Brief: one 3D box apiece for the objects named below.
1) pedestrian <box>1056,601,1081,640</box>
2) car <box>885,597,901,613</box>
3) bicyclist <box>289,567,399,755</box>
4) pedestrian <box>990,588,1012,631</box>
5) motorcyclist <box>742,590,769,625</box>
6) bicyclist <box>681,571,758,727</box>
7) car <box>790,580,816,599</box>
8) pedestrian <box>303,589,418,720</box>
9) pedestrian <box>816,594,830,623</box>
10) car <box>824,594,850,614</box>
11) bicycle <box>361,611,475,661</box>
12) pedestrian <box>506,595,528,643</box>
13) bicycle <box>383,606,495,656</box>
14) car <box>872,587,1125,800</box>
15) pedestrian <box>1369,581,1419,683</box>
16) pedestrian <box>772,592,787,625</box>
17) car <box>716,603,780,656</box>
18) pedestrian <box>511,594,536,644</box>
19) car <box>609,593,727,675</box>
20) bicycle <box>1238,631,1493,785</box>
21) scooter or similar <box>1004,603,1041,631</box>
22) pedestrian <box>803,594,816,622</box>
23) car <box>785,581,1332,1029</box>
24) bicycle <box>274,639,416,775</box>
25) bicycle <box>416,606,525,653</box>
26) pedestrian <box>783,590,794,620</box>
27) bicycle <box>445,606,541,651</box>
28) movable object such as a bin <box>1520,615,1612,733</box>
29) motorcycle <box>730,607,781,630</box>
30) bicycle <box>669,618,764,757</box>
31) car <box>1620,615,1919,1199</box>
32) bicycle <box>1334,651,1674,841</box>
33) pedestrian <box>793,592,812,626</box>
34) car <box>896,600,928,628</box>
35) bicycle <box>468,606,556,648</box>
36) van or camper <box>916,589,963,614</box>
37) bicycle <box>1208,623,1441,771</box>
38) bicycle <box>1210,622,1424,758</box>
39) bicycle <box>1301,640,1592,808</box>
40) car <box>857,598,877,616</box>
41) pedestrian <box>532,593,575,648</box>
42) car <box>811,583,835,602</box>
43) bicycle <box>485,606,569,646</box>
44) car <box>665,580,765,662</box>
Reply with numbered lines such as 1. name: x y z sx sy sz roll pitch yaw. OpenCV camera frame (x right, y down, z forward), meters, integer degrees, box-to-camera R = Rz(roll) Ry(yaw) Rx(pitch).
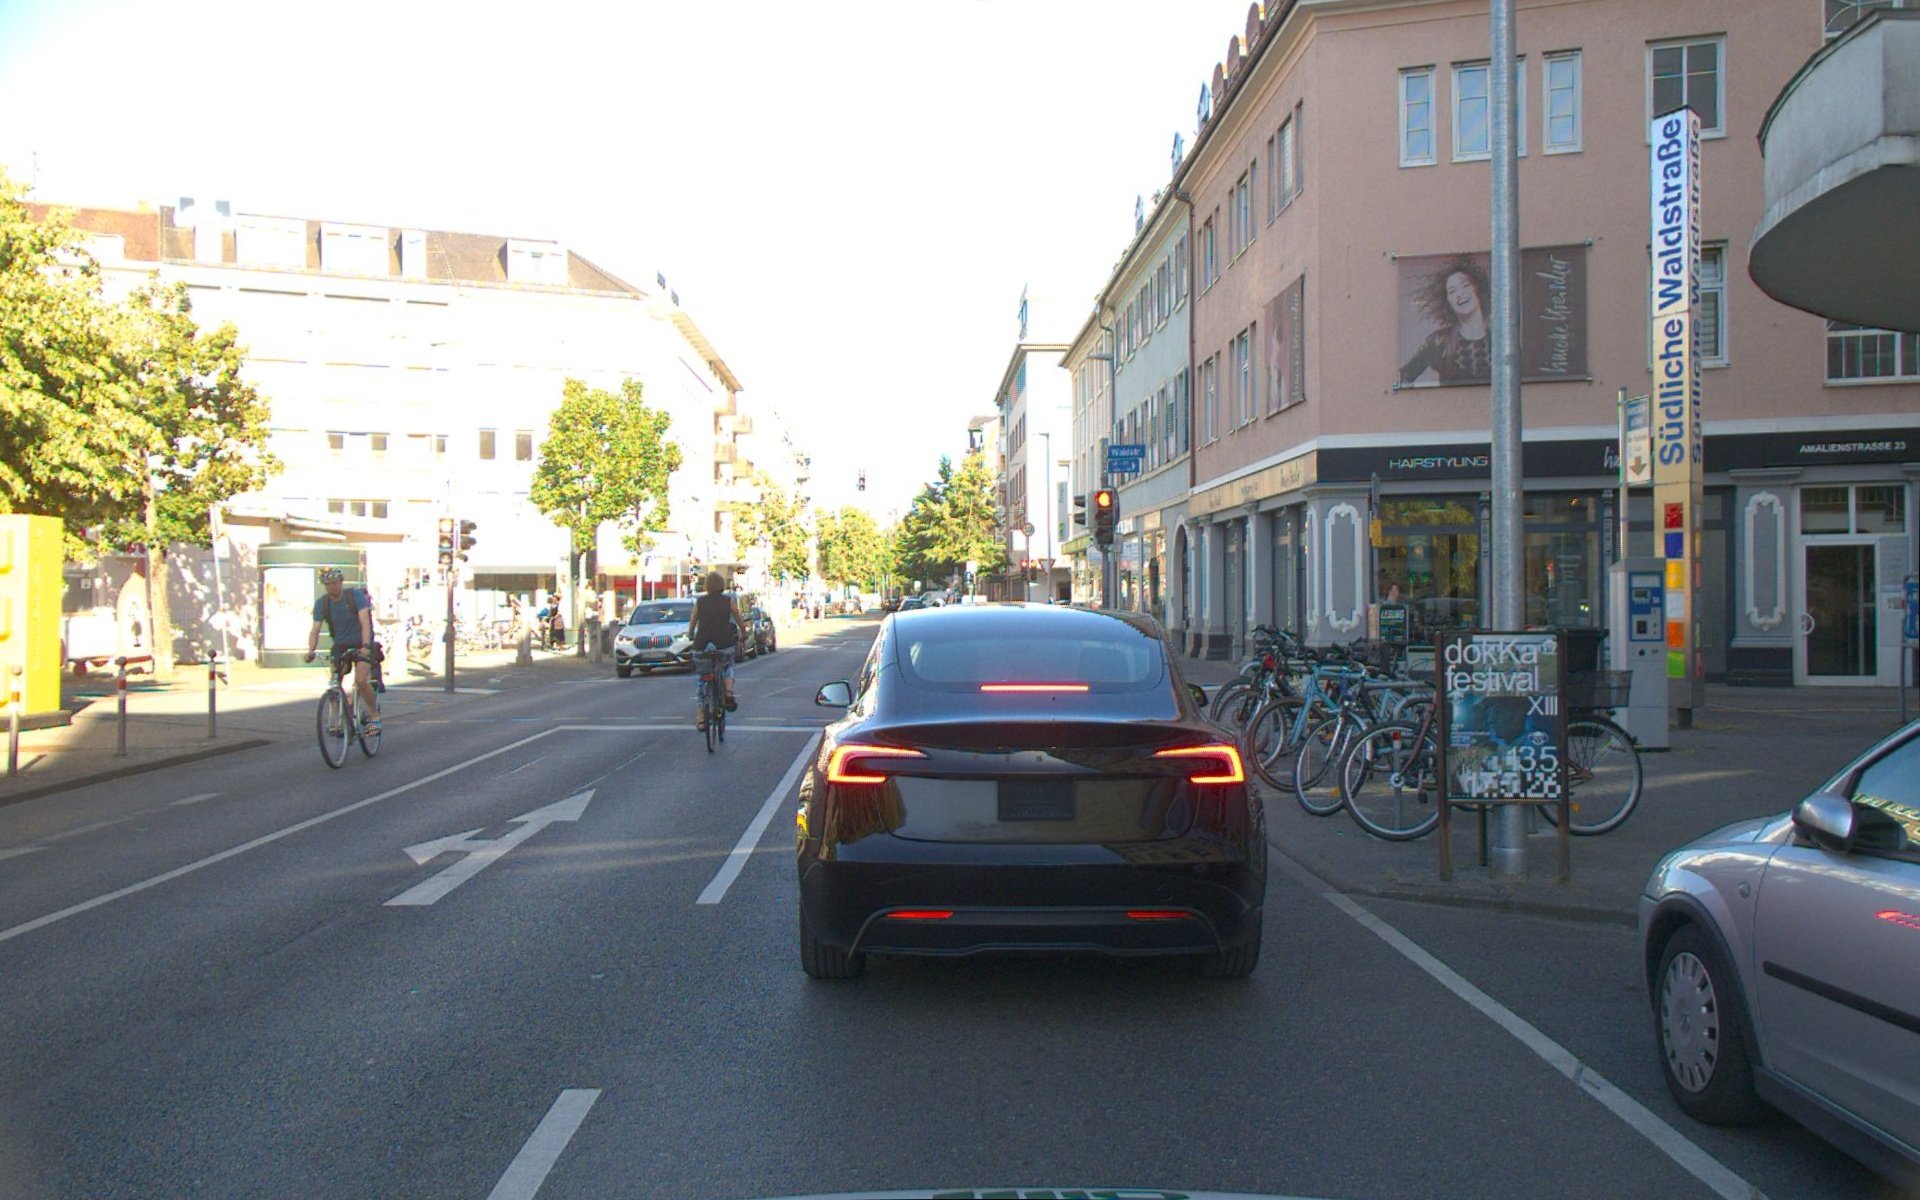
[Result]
1. pedestrian: 4.659 0.877 71.273 0.800 1.637 0.700 1 -1 -38
2. car: -8.194 0.638 202.107 1.854 1.845 3.923 1 0 -2
3. bicyclist: -5.942 0.573 15.993 0.687 1.739 0.810 -2 0 0
4. pedestrian: 1.702 0.385 68.564 0.649 1.790 0.649 1 -1 -24
5. motorcyclist: -9.887 0.382 79.882 1.096 1.662 0.770 1 -1 -26
6. bicyclist: -2.393 0.476 16.517 0.594 1.510 0.958 1 0 0
7. car: -17.002 -1.126 179.399 2.228 2.049 4.717 1 0 0
8. pedestrian: -8.339 0.740 23.040 1.086 1.750 1.062 1 0 12
9. pedestrian: -9.093 0.578 109.771 0.761 1.900 1.005 1 -1 -15
10. car: -12.329 0.398 166.255 2.365 2.004 4.677 0 0 -1
11. bicycle: -13.943 0.926 42.579 2.607 1.216 0.942 1 0 -4
12. pedestrian: -16.395 0.704 61.222 0.650 1.790 0.648 1 -1 -27
13. bicycle: -14.117 0.844 44.916 2.725 1.296 0.932 1 0 -4
14. car: 0.247 0.684 14.187 1.812 1.507 4.450 1 0 -1
15. pedestrian: 6.910 0.503 26.297 0.706 1.576 0.792 1 -1 18
16. pedestrian: -10.609 0.498 97.048 0.721 1.900 0.787 1 -1 -17
17. car: -6.328 0.854 49.684 1.431 1.455 3.605 -3 0 -1
18. pedestrian: -16.003 0.698 60.651 0.831 1.790 0.703 1 -1 -17
19. car: -6.317 0.711 36.229 1.788 1.592 4.299 -4 0 -1
20. bicycle: 3.054 0.803 12.558 1.776 1.121 0.653 0 0 0
21. scooter or similar: 2.588 0.716 69.005 1.317 1.154 0.803 1 -1 -25
22. pedestrian: -10.324 0.572 113.422 0.684 1.900 0.905 1 -1 -17
23. car: 0.303 0.698 7.763 1.812 1.472 4.450 1 0 -1
24. bicycle: -5.921 0.997 16.028 0.603 1.183 1.957 -2 0 0
25. bicycle: -13.993 0.831 47.317 2.818 1.292 0.942 1 0 -4
26. pedestrian: -10.756 0.315 103.707 0.681 1.900 0.658 1 -1 -6
27. bicycle: -14.002 0.846 49.636 2.609 1.281 0.942 1 0 -4
28. movable object such as a bin: 6.047 0.730 16.533 0.623 1.122 0.728 -2 0 3
29. motorcycle: -9.878 0.907 79.864 2.348 1.054 0.777 1 0 -25
30. bicycle: -2.400 0.834 16.516 0.615 1.244 2.001 1 1 0
31. car: 2.925 0.779 3.529 1.551 1.451 3.579 1 0 -1
32. bicycle: 3.283 0.873 10.082 1.844 1.062 0.653 -1 0 0
33. pedestrian: -9.011 0.516 94.539 0.719 1.900 0.790 1 -1 28
34. car: -3.207 0.893 109.383 1.995 1.819 4.004 0 0 -3
35. bicycle: -14.054 0.851 51.910 2.491 1.273 0.942 1 0 -4
36. van or camper: -2.053 0.174 167.512 4.752 2.481 1.850 0 0 -1
37. bicycle: 2.982 0.781 13.631 1.776 1.172 0.653 0 0 0
38. bicycle: 3.166 0.790 14.768 1.776 1.172 0.653 0 0 0
39. bicycle: 3.254 0.820 11.154 1.776 1.078 0.653 0 0 0
40. car: -10.485 0.833 186.959 2.089 2.004 4.133 0 0 -1
41. pedestrian: -12.488 0.633 50.834 1.071 1.639 1.265 1 0 -5
42. car: -15.585 -0.813 188.055 2.228 2.049 4.717 1 0 0
43. bicycle: -14.220 0.858 54.332 2.491 1.273 0.942 1 0 -4
44. car: -6.225 0.506 42.557 1.906 1.981 4.819 0 0 -1
